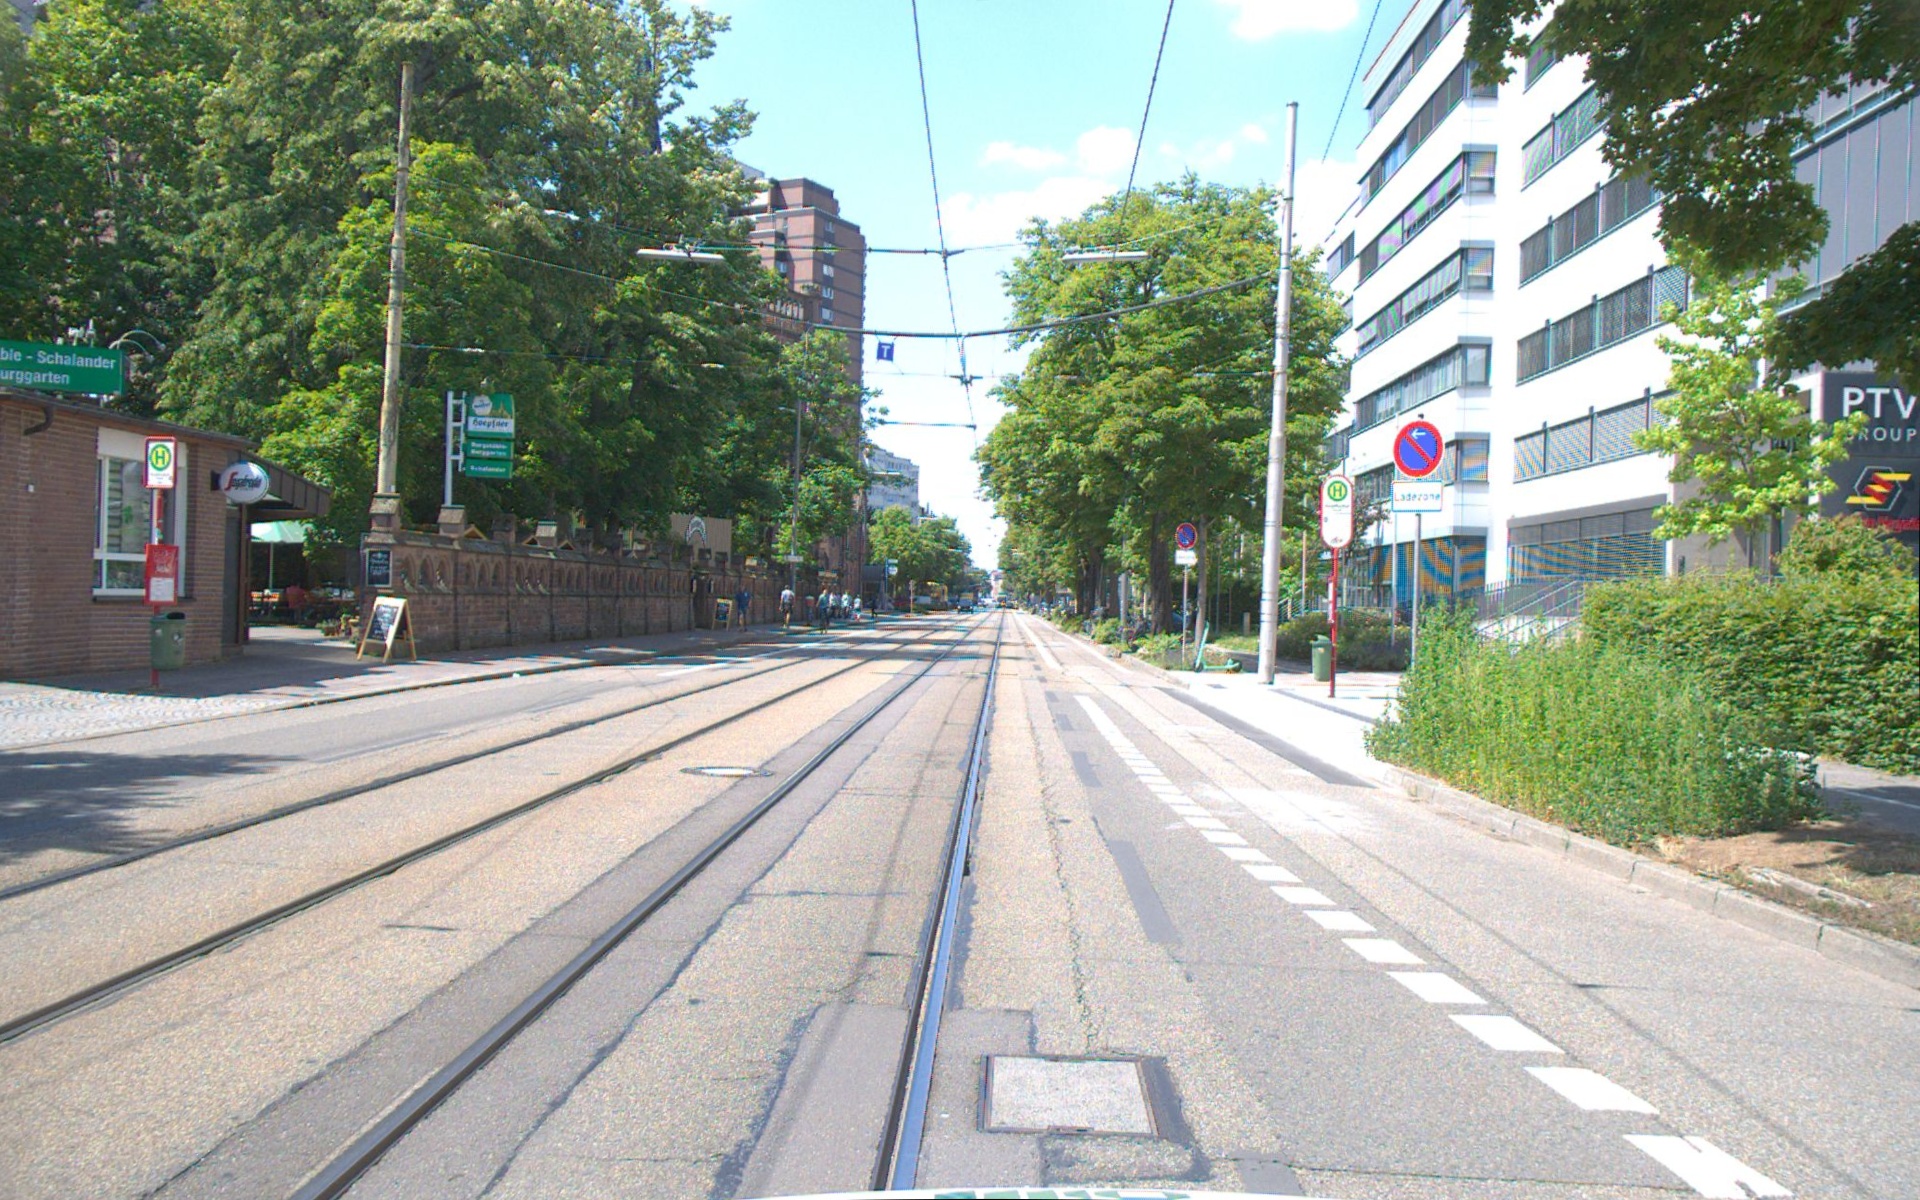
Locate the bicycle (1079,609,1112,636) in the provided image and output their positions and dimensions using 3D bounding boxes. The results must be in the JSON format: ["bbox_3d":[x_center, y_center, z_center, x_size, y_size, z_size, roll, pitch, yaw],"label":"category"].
[{"bbox_3d":[6.629,1.082,80.954,1.531,1.263,0.437,1,0,3],"label":"bicycle"}]

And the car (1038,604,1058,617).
[{"bbox_3d":[9.330,1.085,175.312,1.952,1.333,4.001,2,0,1],"label":"car"}]

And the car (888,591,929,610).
[{"bbox_3d":[-5.642,0.028,180.790,3.946,1.835,1.980,4,0,-31],"label":"car"}]

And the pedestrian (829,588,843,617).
[{"bbox_3d":[-7.580,0.136,100.937,0.727,1.758,0.867,2,0,1],"label":"pedestrian"}]

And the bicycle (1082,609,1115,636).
[{"bbox_3d":[6.726,1.089,80.367,1.531,1.263,0.437,1,0,3],"label":"bicycle"}]

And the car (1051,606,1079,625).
[{"bbox_3d":[7.814,1.116,123.265,1.952,1.333,4.001,2,0,1],"label":"car"}]

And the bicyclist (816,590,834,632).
[{"bbox_3d":[-5.513,0.456,67.627,0.628,1.709,0.815,1,0,2],"label":"bicyclist"}]

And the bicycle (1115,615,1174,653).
[{"bbox_3d":[6.308,1.166,56.671,1.955,1.231,0.662,2,0,6],"label":"bicycle"}]

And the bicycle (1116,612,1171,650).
[{"bbox_3d":[6.120,1.031,55.242,1.716,1.186,0.530,2,0,-1],"label":"bicycle"}]

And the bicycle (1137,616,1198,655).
[{"bbox_3d":[6.264,1.075,50.006,1.752,1.121,0.532,2,0,-1],"label":"bicycle"}]

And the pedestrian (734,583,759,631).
[{"bbox_3d":[-7.980,0.258,61.766,0.727,1.758,0.867,2,0,1],"label":"pedestrian"}]

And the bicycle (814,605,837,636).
[{"bbox_3d":[-5.490,0.826,67.519,0.686,1.225,2.241,0,0,1],"label":"bicycle"}]

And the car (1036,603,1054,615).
[{"bbox_3d":[9.649,1.037,188.348,1.952,1.333,4.001,2,0,1],"label":"car"}]

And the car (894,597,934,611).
[{"bbox_3d":[-5.943,0.500,213.976,4.670,1.747,1.984,2,0,-26],"label":"car"}]

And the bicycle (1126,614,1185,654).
[{"bbox_3d":[6.111,1.053,51.744,1.716,1.186,0.530,2,0,-1],"label":"bicycle"}]

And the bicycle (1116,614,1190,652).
[{"bbox_3d":[6.520,1.109,55.952,2.458,1.231,0.648,2,0,6],"label":"bicycle"}]

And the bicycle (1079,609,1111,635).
[{"bbox_3d":[6.640,1.081,81.482,1.531,1.263,0.437,1,0,3],"label":"bicycle"}]

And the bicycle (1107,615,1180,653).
[{"bbox_3d":[6.356,1.164,57.353,2.458,1.231,0.623,2,0,6],"label":"bicycle"}]

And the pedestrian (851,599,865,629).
[{"bbox_3d":[-6.197,0.833,100.422,0.728,1.758,0.867,2,0,0],"label":"pedestrian"}]

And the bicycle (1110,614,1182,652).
[{"bbox_3d":[6.536,1.146,58.084,2.458,1.231,0.742,2,0,6],"label":"bicycle"}]

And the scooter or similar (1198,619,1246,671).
[{"bbox_3d":[5.999,1.023,37.920,1.036,1.176,0.371,0,0,2],"label":"scooter or similar"}]

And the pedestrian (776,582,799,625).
[{"bbox_3d":[-7.454,0.158,71.384,0.798,1.801,0.925,2,0,1],"label":"pedestrian"}]

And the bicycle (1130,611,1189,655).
[{"bbox_3d":[6.181,1.005,51.162,1.716,1.293,0.530,2,0,-1],"label":"bicycle"}]

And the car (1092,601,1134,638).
[{"bbox_3d":[6.807,0.851,73.960,1.600,1.527,4.001,2,0,1],"label":"car"}]

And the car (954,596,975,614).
[{"bbox_3d":[0.525,0.568,188.671,1.952,2.049,4.002,2,0,4],"label":"car"}]

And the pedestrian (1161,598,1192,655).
[{"bbox_3d":[6.650,0.816,50.815,0.574,1.745,0.792,1,0,44],"label":"pedestrian"}]

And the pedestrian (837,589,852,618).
[{"bbox_3d":[-6.957,0.211,99.556,0.727,1.758,0.867,2,0,1],"label":"pedestrian"}]

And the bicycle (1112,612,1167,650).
[{"bbox_3d":[5.930,1.020,54.745,1.716,1.186,0.530,2,0,-1],"label":"bicycle"}]

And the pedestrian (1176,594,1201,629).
[{"bbox_3d":[12.361,0.612,89.597,1.191,1.859,0.831,2,0,-2],"label":"pedestrian"}]

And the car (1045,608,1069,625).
[{"bbox_3d":[8.476,1.439,144.462,1.952,1.333,4.001,2,0,1],"label":"car"}]
